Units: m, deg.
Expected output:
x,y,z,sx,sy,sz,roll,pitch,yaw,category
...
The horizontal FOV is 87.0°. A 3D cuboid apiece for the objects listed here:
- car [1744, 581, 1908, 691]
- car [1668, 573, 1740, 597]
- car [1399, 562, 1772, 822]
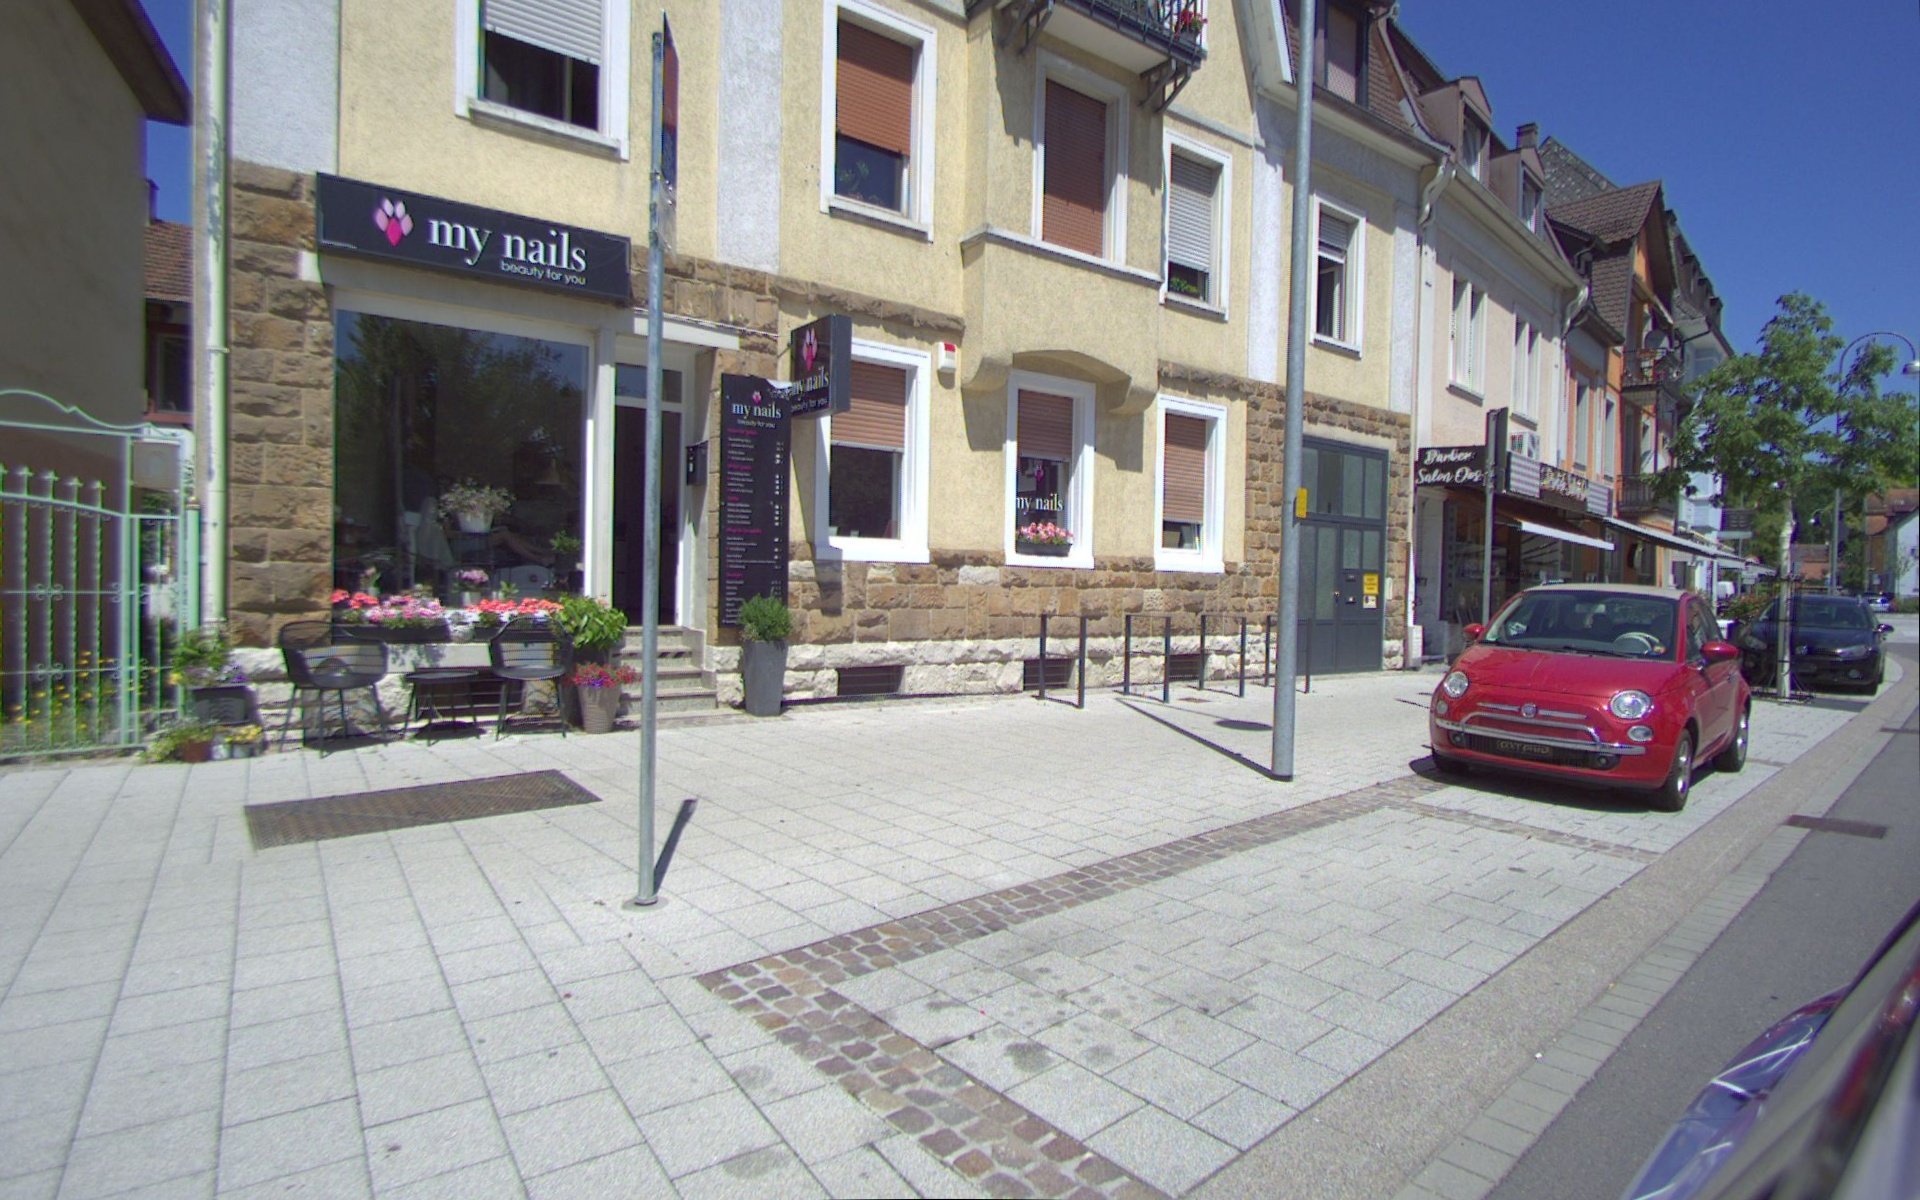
x,y,z,sx,sy,sz,roll,pitch,yaw,category
14.429,0.492,16.777,1.731,1.490,4.255,5,4,44,car
81.712,-1.650,111.232,6.328,2.492,2.276,1,1,38,car
5.017,0.531,7.961,3.331,1.532,1.681,0,4,-44,car
